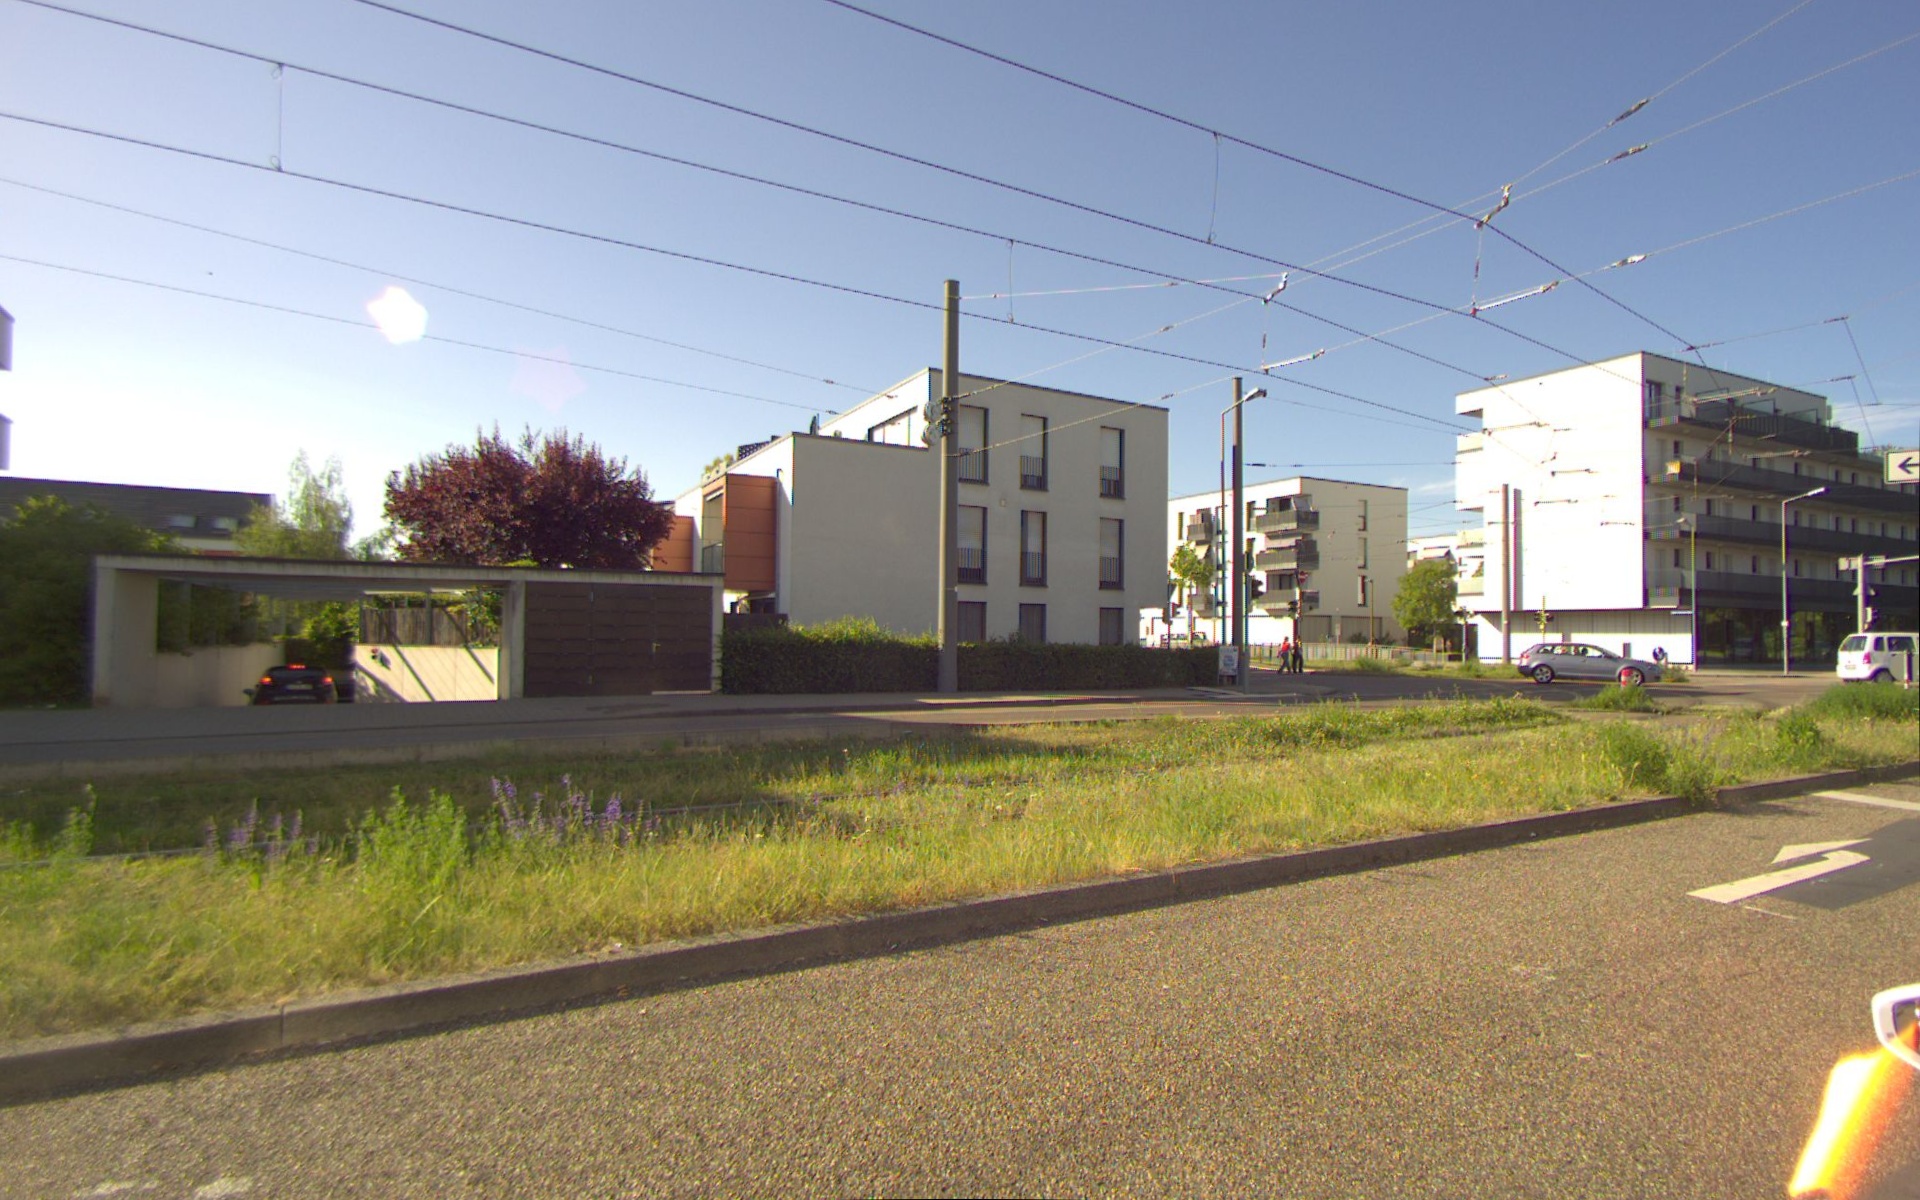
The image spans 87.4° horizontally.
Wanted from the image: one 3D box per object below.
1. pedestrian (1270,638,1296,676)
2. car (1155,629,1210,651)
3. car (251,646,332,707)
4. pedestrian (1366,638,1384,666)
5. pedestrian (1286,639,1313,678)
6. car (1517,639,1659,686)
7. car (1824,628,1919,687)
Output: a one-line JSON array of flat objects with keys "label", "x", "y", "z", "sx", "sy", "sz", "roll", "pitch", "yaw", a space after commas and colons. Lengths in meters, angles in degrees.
[{"label": "pedestrian", "x": 14.252, "y": 2.494, "z": 44.257, "sx": 0.735, "sy": 1.626, "sz": 0.766, "roll": 2, "pitch": 0, "yaw": -33}, {"label": "car", "x": 17.757, "y": 3.181, "z": 80.351, "sx": 1.974, "sy": 1.595, "sz": 4.309, "roll": 2, "pitch": 0, "yaw": -27}, {"label": "car", "x": -16.844, "y": 1.975, "z": 25.349, "sx": 1.560, "sy": 1.344, "sz": 3.966, "roll": 2, "pitch": -7, "yaw": -33}, {"label": "pedestrian", "x": 25.205, "y": 3.143, "z": 61.070, "sx": 0.613, "sy": 1.714, "sz": 0.809, "roll": 1, "pitch": -2, "yaw": -30}, {"label": "pedestrian", "x": 14.662, "y": 2.502, "z": 43.398, "sx": 0.735, "sy": 1.626, "sz": 0.766, "roll": 2, "pitch": 0, "yaw": -33}, {"label": "car", "x": 21.540, "y": 2.114, "z": 34.624, "sx": 4.037, "sy": 1.505, "sz": 1.866, "roll": -1, "pitch": -2, "yaw": 30}, {"label": "car", "x": 29.023, "y": 1.746, "z": 30.624, "sx": 3.614, "sy": 1.743, "sz": 1.870, "roll": 0, "pitch": -1, "yaw": 20}]
